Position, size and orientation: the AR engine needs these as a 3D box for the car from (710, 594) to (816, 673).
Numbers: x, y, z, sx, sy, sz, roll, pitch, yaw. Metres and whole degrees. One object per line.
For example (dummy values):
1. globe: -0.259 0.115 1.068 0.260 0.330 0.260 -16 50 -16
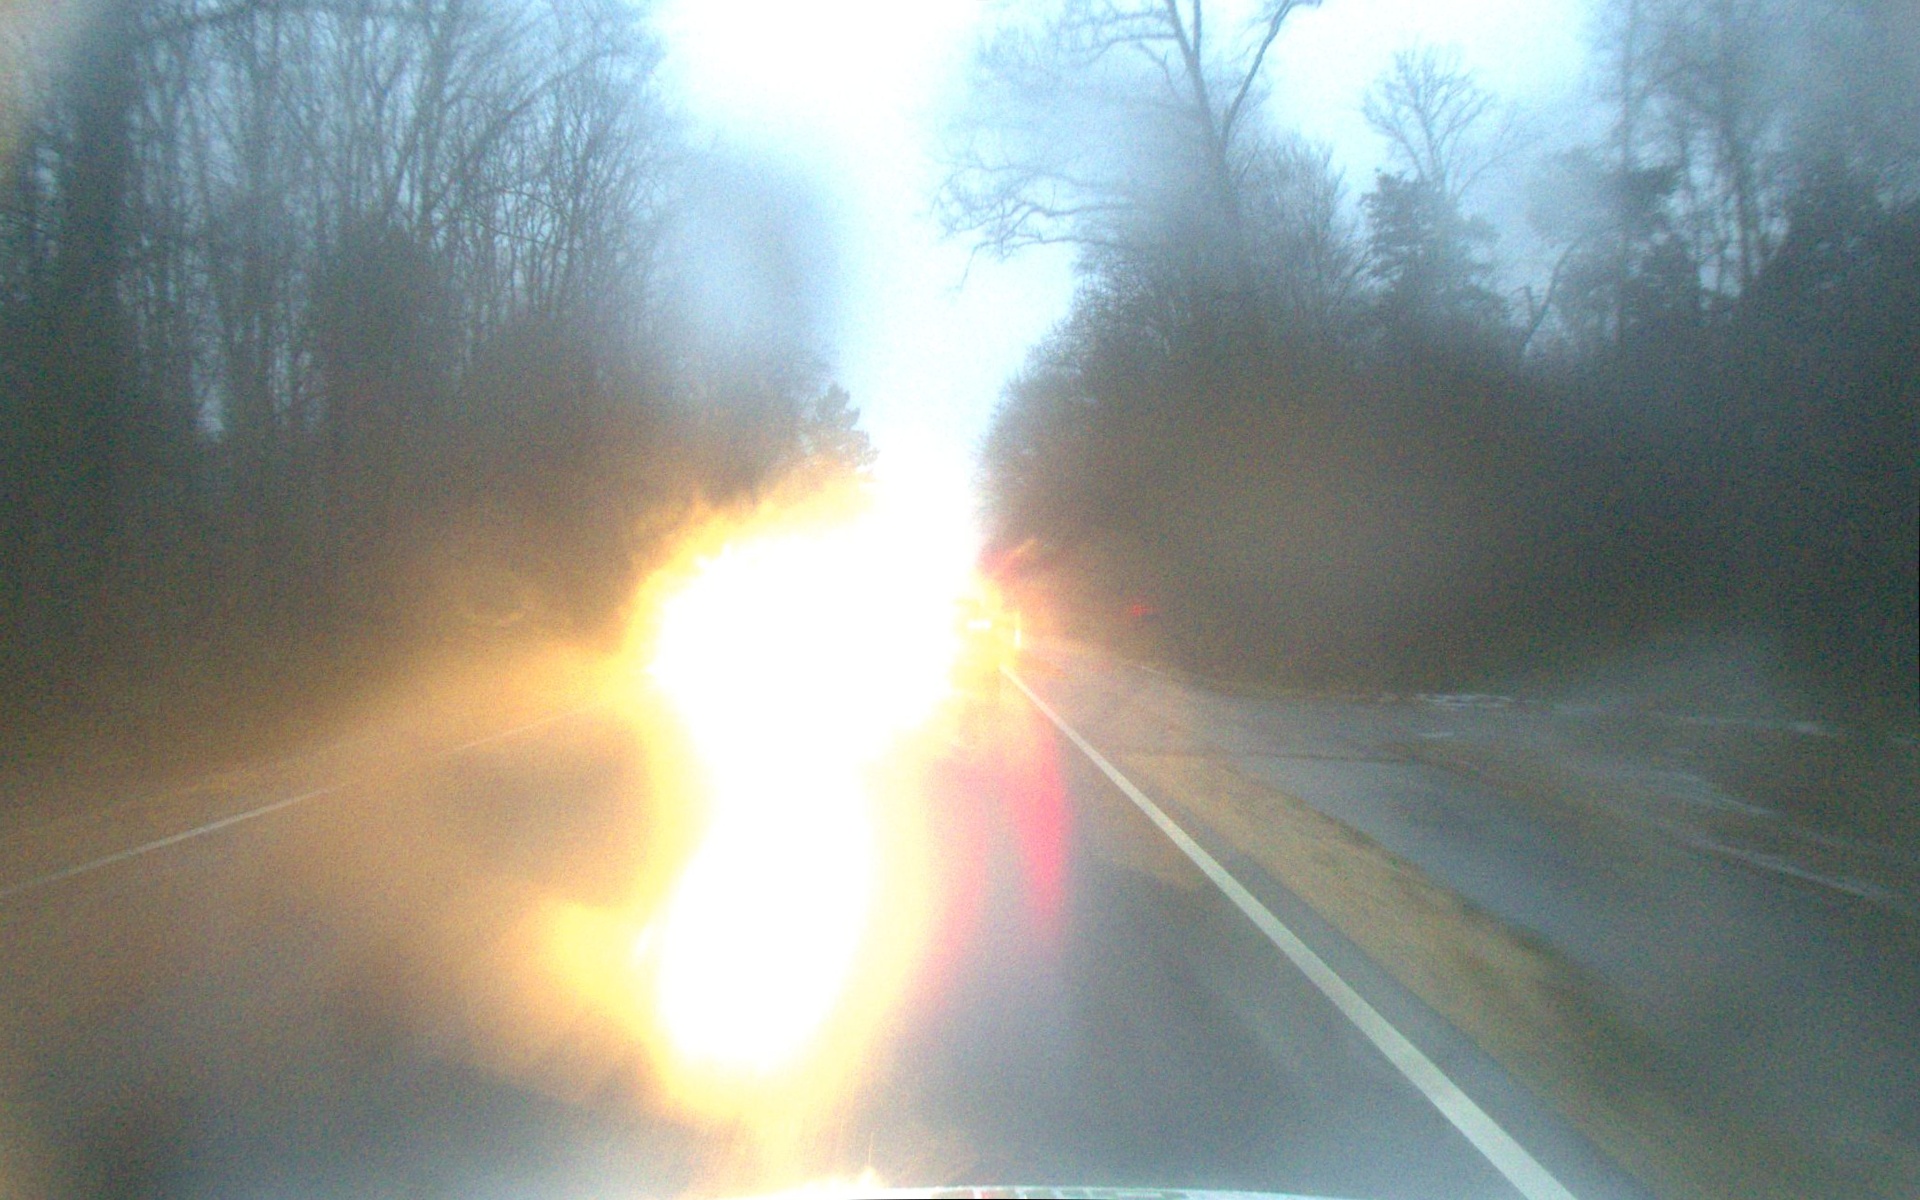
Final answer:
1. car: -4.328 0.693 37.104 1.879 1.636 5.014 -1 0 -2

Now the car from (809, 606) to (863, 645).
1. car: -4.856 0.986 65.258 1.830 1.447 4.386 0 0 -1

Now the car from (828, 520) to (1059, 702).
1. car: -0.221 0.166 25.883 3.118 2.428 6.636 1 0 0

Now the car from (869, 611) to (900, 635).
1. car: -5.227 1.598 115.060 2.033 1.644 4.150 -1 0 -2
